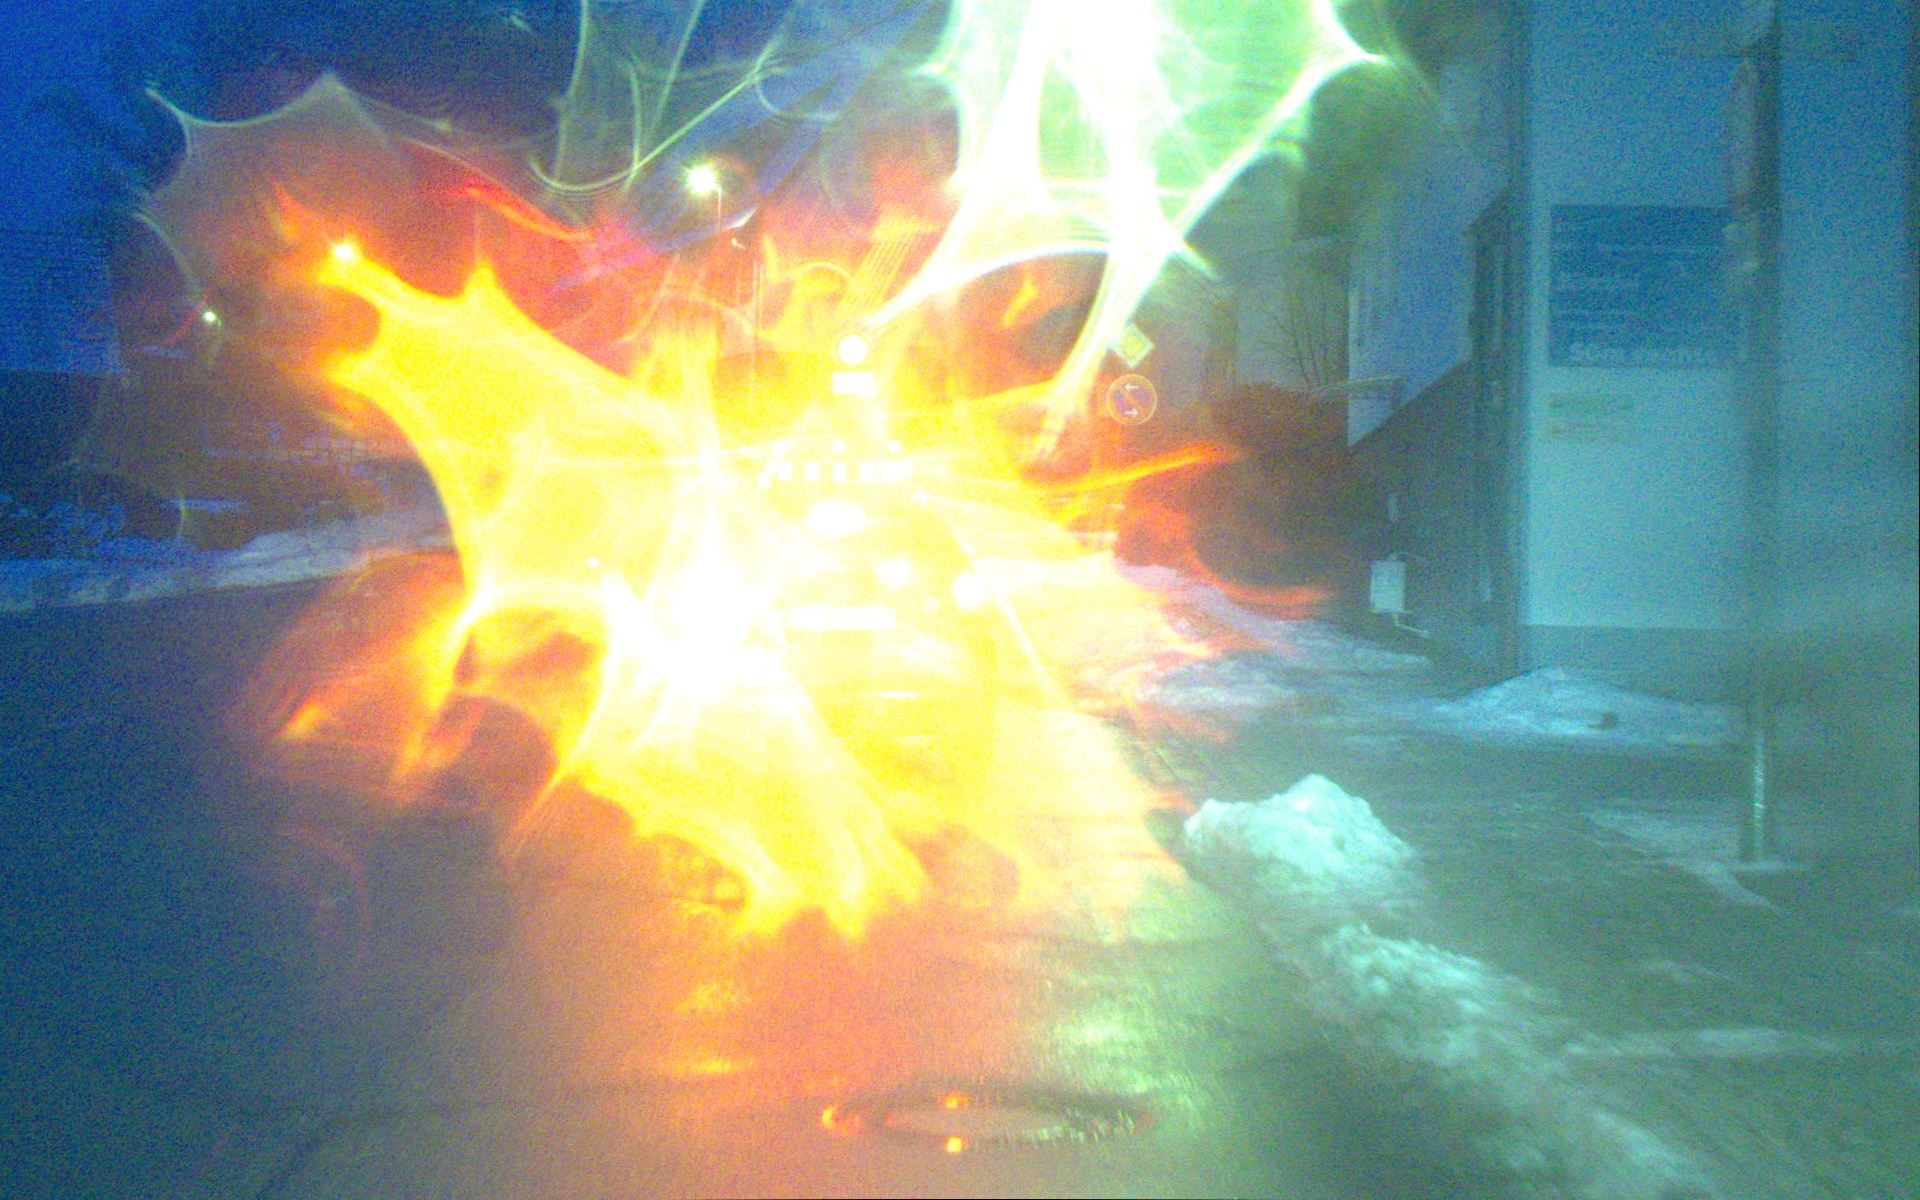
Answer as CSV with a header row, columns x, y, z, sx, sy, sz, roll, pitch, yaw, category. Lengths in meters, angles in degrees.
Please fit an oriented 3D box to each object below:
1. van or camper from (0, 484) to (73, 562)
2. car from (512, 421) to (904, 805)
x,y,z,sx,sy,sz,roll,pitch,yaw,category
-14.439,-1.149,52.046,1.282,1.098,3.273,1,0,-27,van or camper
-1.239,0.002,18.108,1.822,1.790,3.578,-1,2,-1,car
